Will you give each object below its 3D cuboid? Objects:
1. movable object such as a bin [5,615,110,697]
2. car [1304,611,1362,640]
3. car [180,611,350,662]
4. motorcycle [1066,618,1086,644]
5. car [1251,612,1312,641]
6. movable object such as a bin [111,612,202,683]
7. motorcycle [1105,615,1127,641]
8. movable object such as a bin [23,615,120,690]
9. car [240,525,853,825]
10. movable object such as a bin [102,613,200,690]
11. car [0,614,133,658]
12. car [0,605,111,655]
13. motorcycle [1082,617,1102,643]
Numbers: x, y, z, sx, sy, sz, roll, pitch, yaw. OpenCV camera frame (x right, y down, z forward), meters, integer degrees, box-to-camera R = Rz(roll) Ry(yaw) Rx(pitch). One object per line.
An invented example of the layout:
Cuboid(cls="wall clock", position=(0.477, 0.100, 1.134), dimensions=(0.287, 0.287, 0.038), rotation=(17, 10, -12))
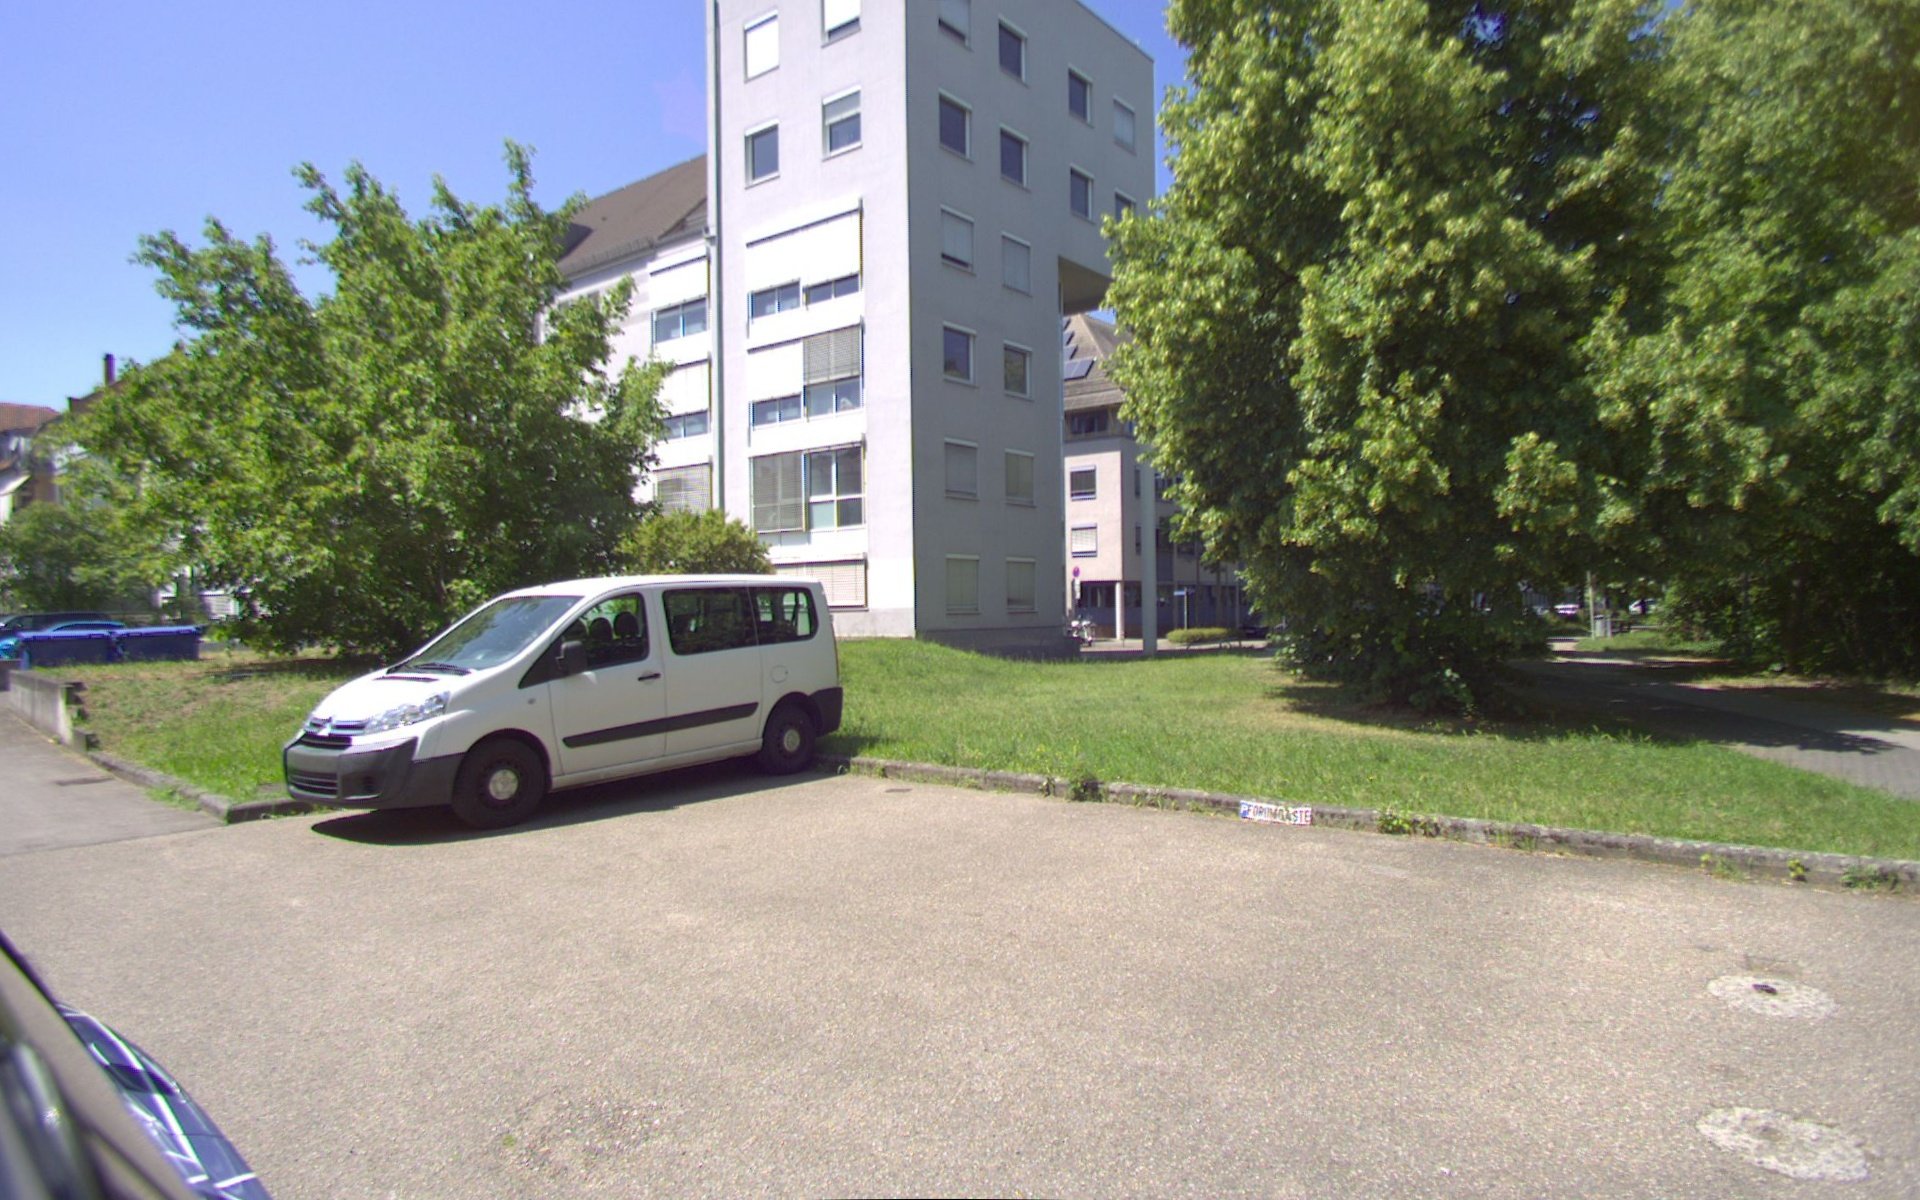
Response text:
Cuboid(cls="movable object such as a bin", position=(-15.825, 0.957, 17.755), dimensions=(1.103, 1.338, 1.241), rotation=(-2, -1, 41))
Cuboid(cls="car", position=(22.359, 1.498, 60.532), dimensions=(1.975, 1.630, 4.115), rotation=(-1, -1, 40))
Cuboid(cls="car", position=(-21.111, 1.069, 30.857), dimensions=(1.708, 1.447, 3.950), rotation=(-1, -2, 37))
Cuboid(cls="motorcycle", position=(5.499, 1.445, 48.100), dimensions=(0.690, 1.176, 2.310), rotation=(-1, 0, 1))
Cuboid(cls="car", position=(18.965, 1.529, 59.649), dimensions=(1.975, 1.630, 4.114), rotation=(-1, -1, 40))
Cuboid(cls="movable object such as a bin", position=(-16.087, 0.925, 20.268), dimensions=(1.103, 1.338, 1.241), rotation=(-2, -1, 41))
Cuboid(cls="motorcycle", position=(7.367, 1.320, 47.882), dimensions=(0.690, 1.176, 2.332), rotation=(-1, 0, 1))
Cuboid(cls="movable object such as a bin", position=(-16.891, 0.971, 19.250), dimensions=(1.103, 1.338, 1.241), rotation=(-2, -1, 41))
Cuboid(cls="car", position=(-3.292, 0.531, 9.035), dimensions=(1.996, 1.926, 4.746), rotation=(-2, -2, 36))
Cuboid(cls="movable object such as a bin", position=(-14.991, 0.932, 18.761), dimensions=(1.103, 1.338, 1.241), rotation=(-2, -1, 41))
Cuboid(cls="car", position=(-34.352, 1.334, 38.516), dimensions=(1.856, 1.565, 4.119), rotation=(-1, -1, 36))
Cuboid(cls="car", position=(-36.608, 1.160, 39.947), dimensions=(1.997, 1.846, 4.395), rotation=(-1, 0, 38))
Cuboid(cls="motorcycle", position=(6.258, 1.406, 48.051), dimensions=(0.690, 1.176, 2.332), rotation=(-1, 0, 1))
